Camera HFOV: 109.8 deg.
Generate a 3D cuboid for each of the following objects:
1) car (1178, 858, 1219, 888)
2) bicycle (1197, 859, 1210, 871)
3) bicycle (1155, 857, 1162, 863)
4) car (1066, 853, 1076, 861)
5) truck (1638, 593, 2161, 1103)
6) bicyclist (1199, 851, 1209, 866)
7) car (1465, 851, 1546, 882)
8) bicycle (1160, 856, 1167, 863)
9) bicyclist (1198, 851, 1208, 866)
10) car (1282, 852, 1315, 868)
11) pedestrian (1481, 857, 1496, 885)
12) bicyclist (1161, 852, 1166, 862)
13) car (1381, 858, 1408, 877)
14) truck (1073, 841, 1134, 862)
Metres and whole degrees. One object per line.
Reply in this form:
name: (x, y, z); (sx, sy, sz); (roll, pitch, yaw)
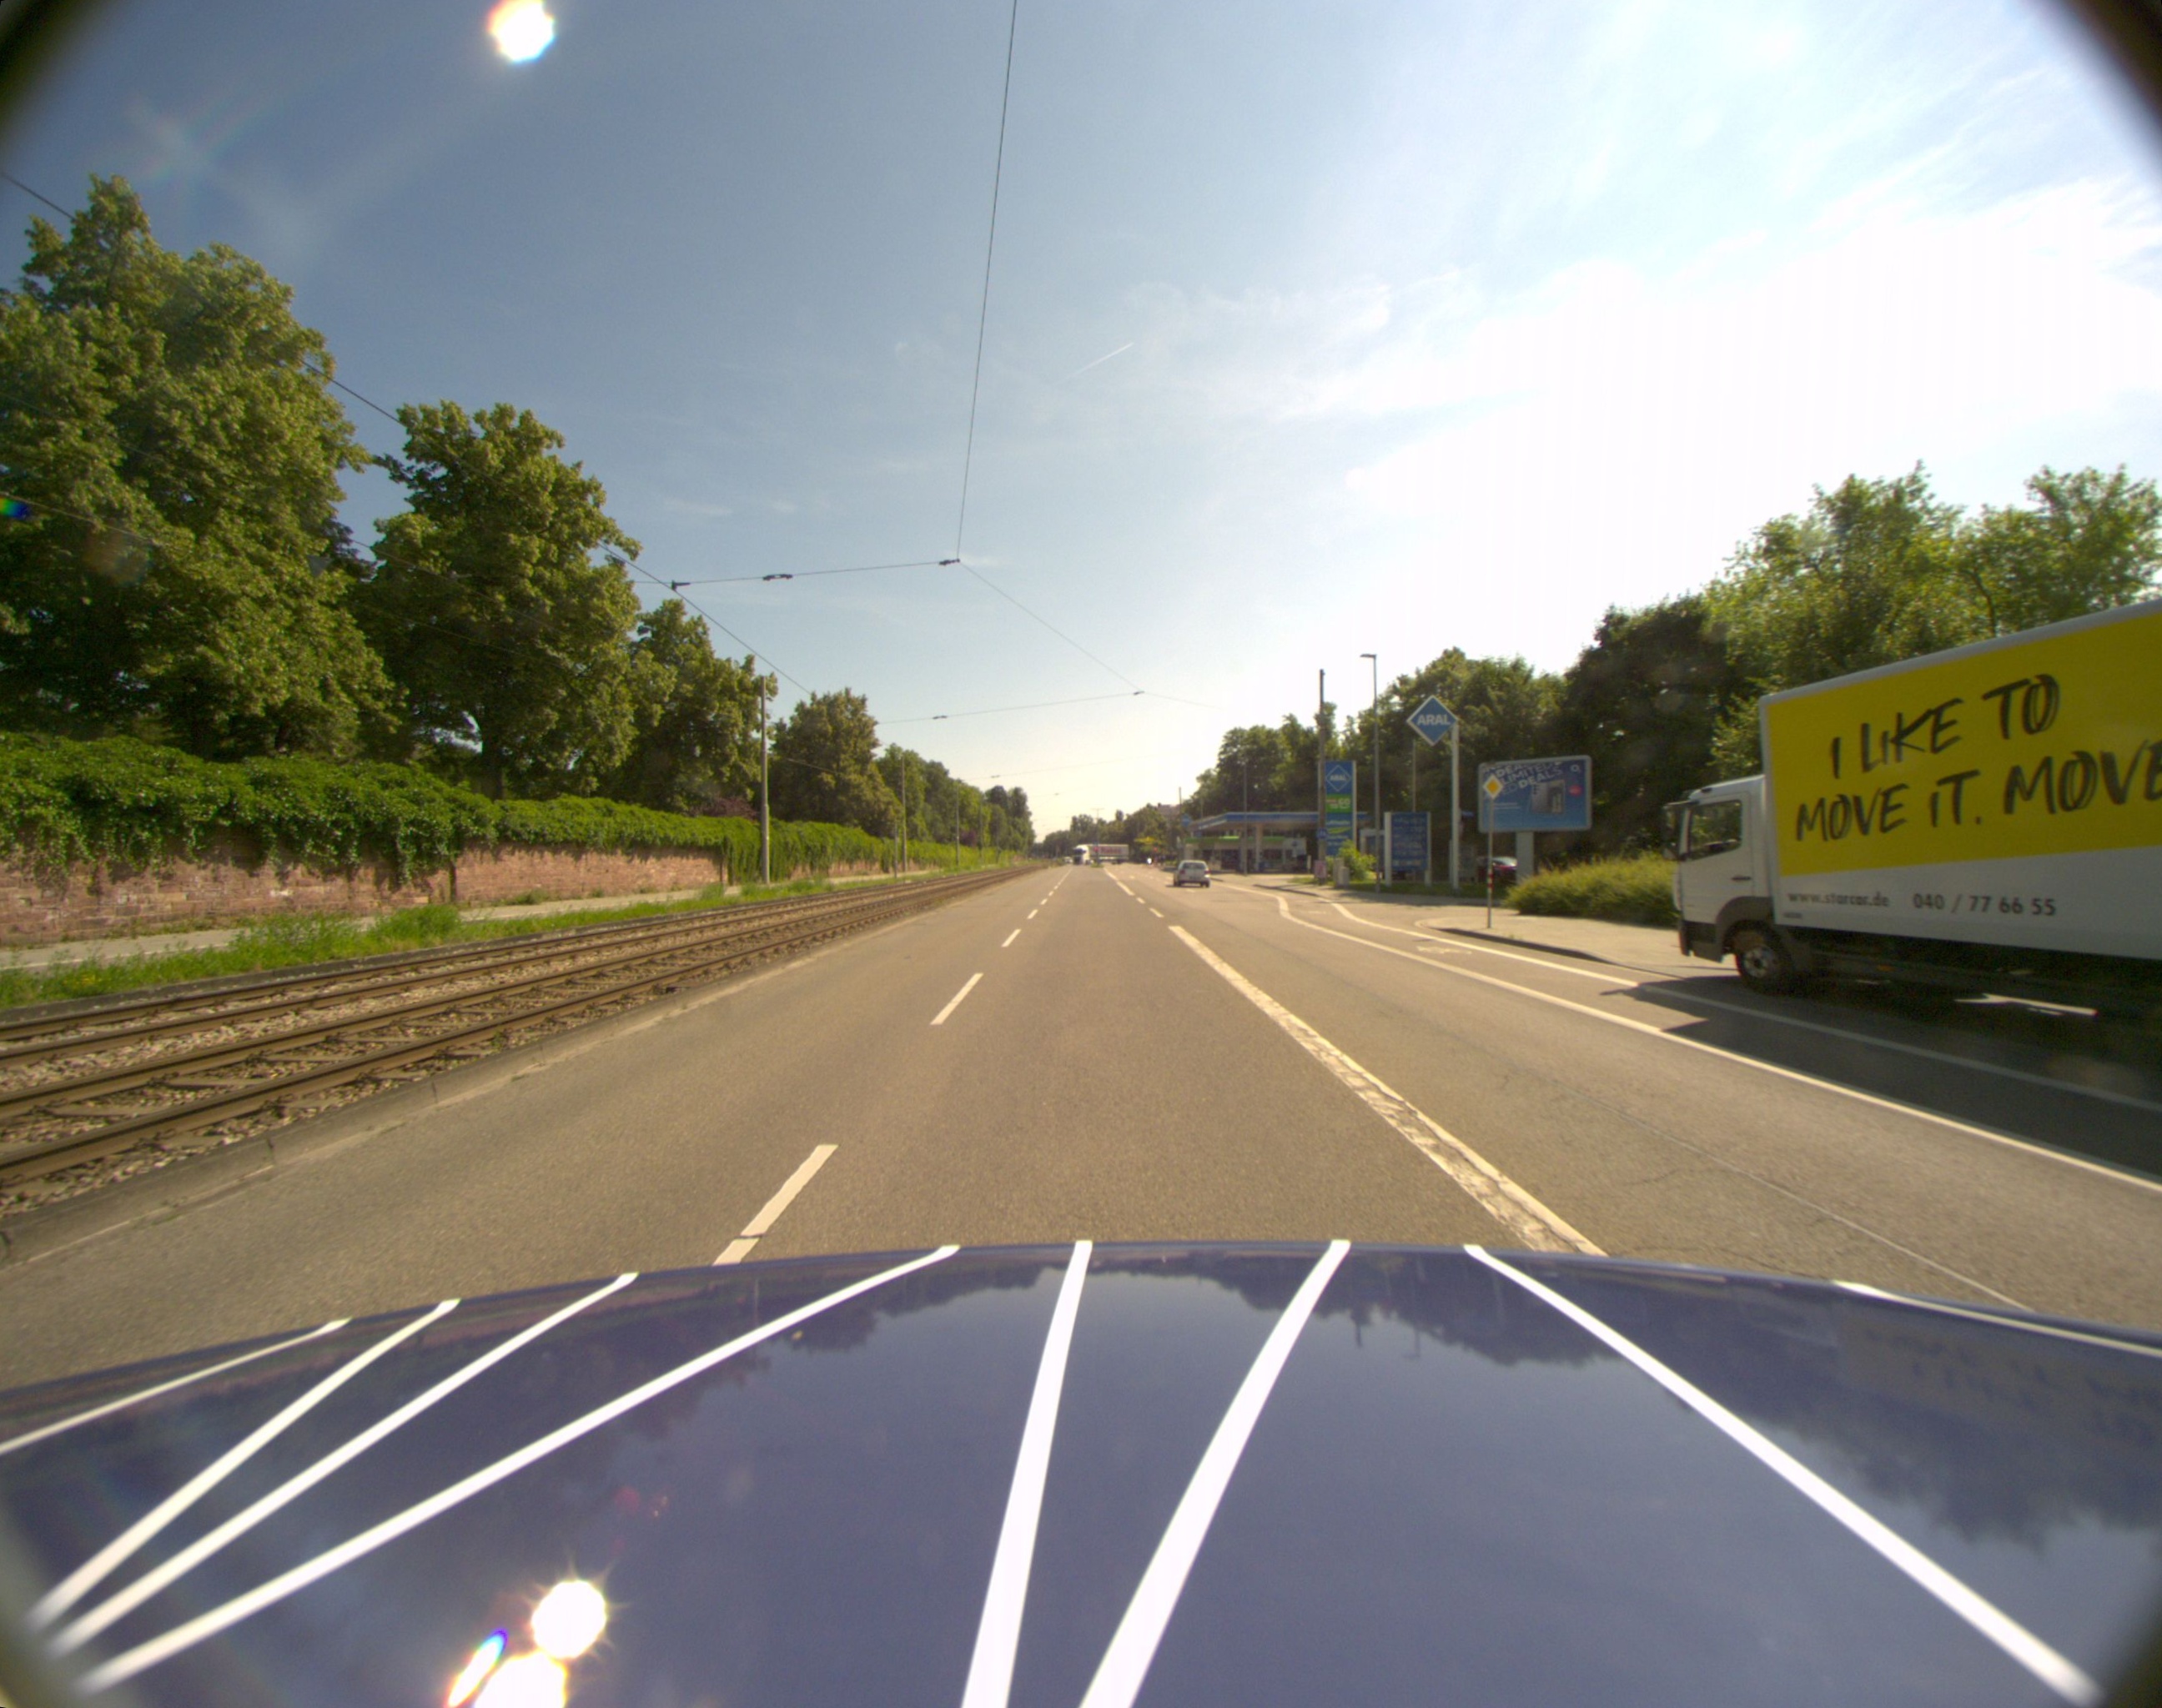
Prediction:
car: (6.016, 0.937, 39.298); (1.662, 1.412, 4.311); (1, 0, 3)
bicycle: (11.630, 1.020, 72.109); (0.827, 1.088, 2.772); (0, 0, 1)
bicycle: (13.516, 1.094, 132.624); (0.753, 1.051, 2.074); (0, 0, -8)
car: (-2.330, 0.675, 172.675); (1.931, 1.593, 4.467); (-1, 0, -4)
truck: (8.798, -0.075, 5.932); (2.673, 3.509, 8.591); (-2, 0, 1)
bicyclist: (11.650, 0.422, 71.978); (0.849, 1.427, 0.832); (0, 1, 4)
car: (22.403, 0.663, 40.352); (1.804, 1.560, 4.519); (0, -1, 1)
bicycle: (14.604, 1.007, 134.396); (0.939, 1.168, 2.211); (0, 0, 2)
bicyclist: (11.693, 0.448, 72.799); (0.849, 1.427, 0.833); (-1, -1, 3)
car: (23.778, 0.652, 83.188); (1.849, 1.771, 5.964); (0, 0, 0)
pedestrian: (21.383, 0.880, 39.849); (0.500, 1.472, 0.500); (0, 1, 1)
bicyclist: (14.587, 0.500, 134.242); (0.837, 1.664, 0.827); (-1, -1, 0)
car: (23.846, 0.995, 57.681); (1.801, 1.338, 4.251); (0, 0, 24)
truck: (4.561, -0.549, 149.668); (14.334, 3.984, 2.846); (0, 0, -43)
